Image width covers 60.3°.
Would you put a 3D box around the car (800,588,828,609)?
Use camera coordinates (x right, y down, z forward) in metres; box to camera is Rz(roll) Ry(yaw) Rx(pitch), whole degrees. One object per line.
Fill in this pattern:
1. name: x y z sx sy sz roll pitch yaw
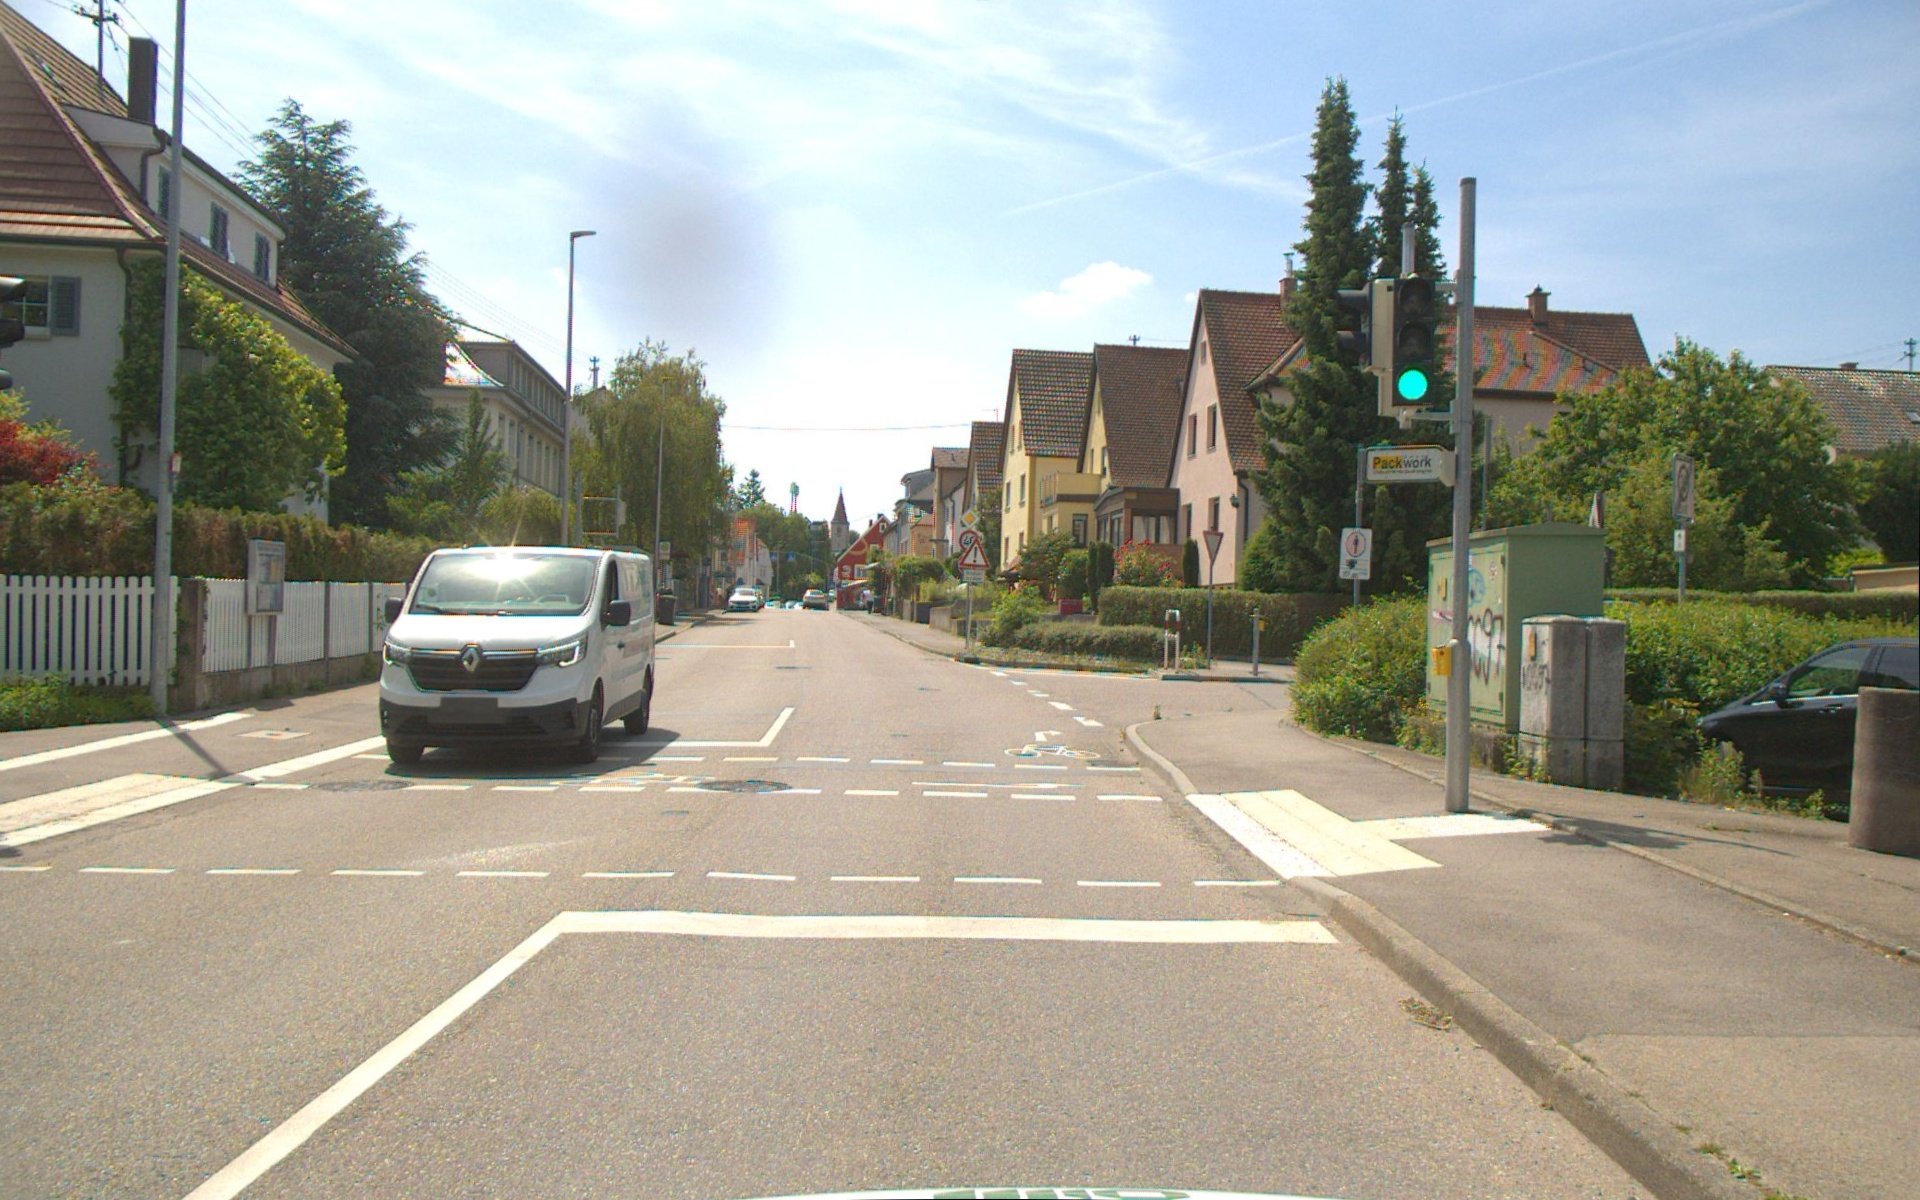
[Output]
1. car: -12.006 -0.133 135.448 1.957 1.588 4.305 1 0 -9

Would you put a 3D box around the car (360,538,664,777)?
1. car: -4.202 0.483 16.357 1.841 1.999 4.900 0 0 -2

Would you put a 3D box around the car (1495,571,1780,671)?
1. car: 11.412 0.346 27.972 4.207 1.568 1.538 1 1 -6

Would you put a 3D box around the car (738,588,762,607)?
1. car: -17.758 -0.202 139.669 1.956 1.588 4.306 1 0 -8

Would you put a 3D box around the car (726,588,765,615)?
1. car: -13.441 0.089 103.903 2.068 1.588 4.312 1 0 -3

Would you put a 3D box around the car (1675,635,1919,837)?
1. car: 8.124 1.125 14.031 1.680 1.579 4.050 3 -2 -13

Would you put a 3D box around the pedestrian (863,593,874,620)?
1. pedestrian: -5.832 0.414 105.808 0.634 1.760 0.608 -1 1 -6

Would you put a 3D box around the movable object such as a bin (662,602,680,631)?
1. movable object such as a bin: -10.901 0.624 62.466 0.596 1.064 0.724 2 2 -6
